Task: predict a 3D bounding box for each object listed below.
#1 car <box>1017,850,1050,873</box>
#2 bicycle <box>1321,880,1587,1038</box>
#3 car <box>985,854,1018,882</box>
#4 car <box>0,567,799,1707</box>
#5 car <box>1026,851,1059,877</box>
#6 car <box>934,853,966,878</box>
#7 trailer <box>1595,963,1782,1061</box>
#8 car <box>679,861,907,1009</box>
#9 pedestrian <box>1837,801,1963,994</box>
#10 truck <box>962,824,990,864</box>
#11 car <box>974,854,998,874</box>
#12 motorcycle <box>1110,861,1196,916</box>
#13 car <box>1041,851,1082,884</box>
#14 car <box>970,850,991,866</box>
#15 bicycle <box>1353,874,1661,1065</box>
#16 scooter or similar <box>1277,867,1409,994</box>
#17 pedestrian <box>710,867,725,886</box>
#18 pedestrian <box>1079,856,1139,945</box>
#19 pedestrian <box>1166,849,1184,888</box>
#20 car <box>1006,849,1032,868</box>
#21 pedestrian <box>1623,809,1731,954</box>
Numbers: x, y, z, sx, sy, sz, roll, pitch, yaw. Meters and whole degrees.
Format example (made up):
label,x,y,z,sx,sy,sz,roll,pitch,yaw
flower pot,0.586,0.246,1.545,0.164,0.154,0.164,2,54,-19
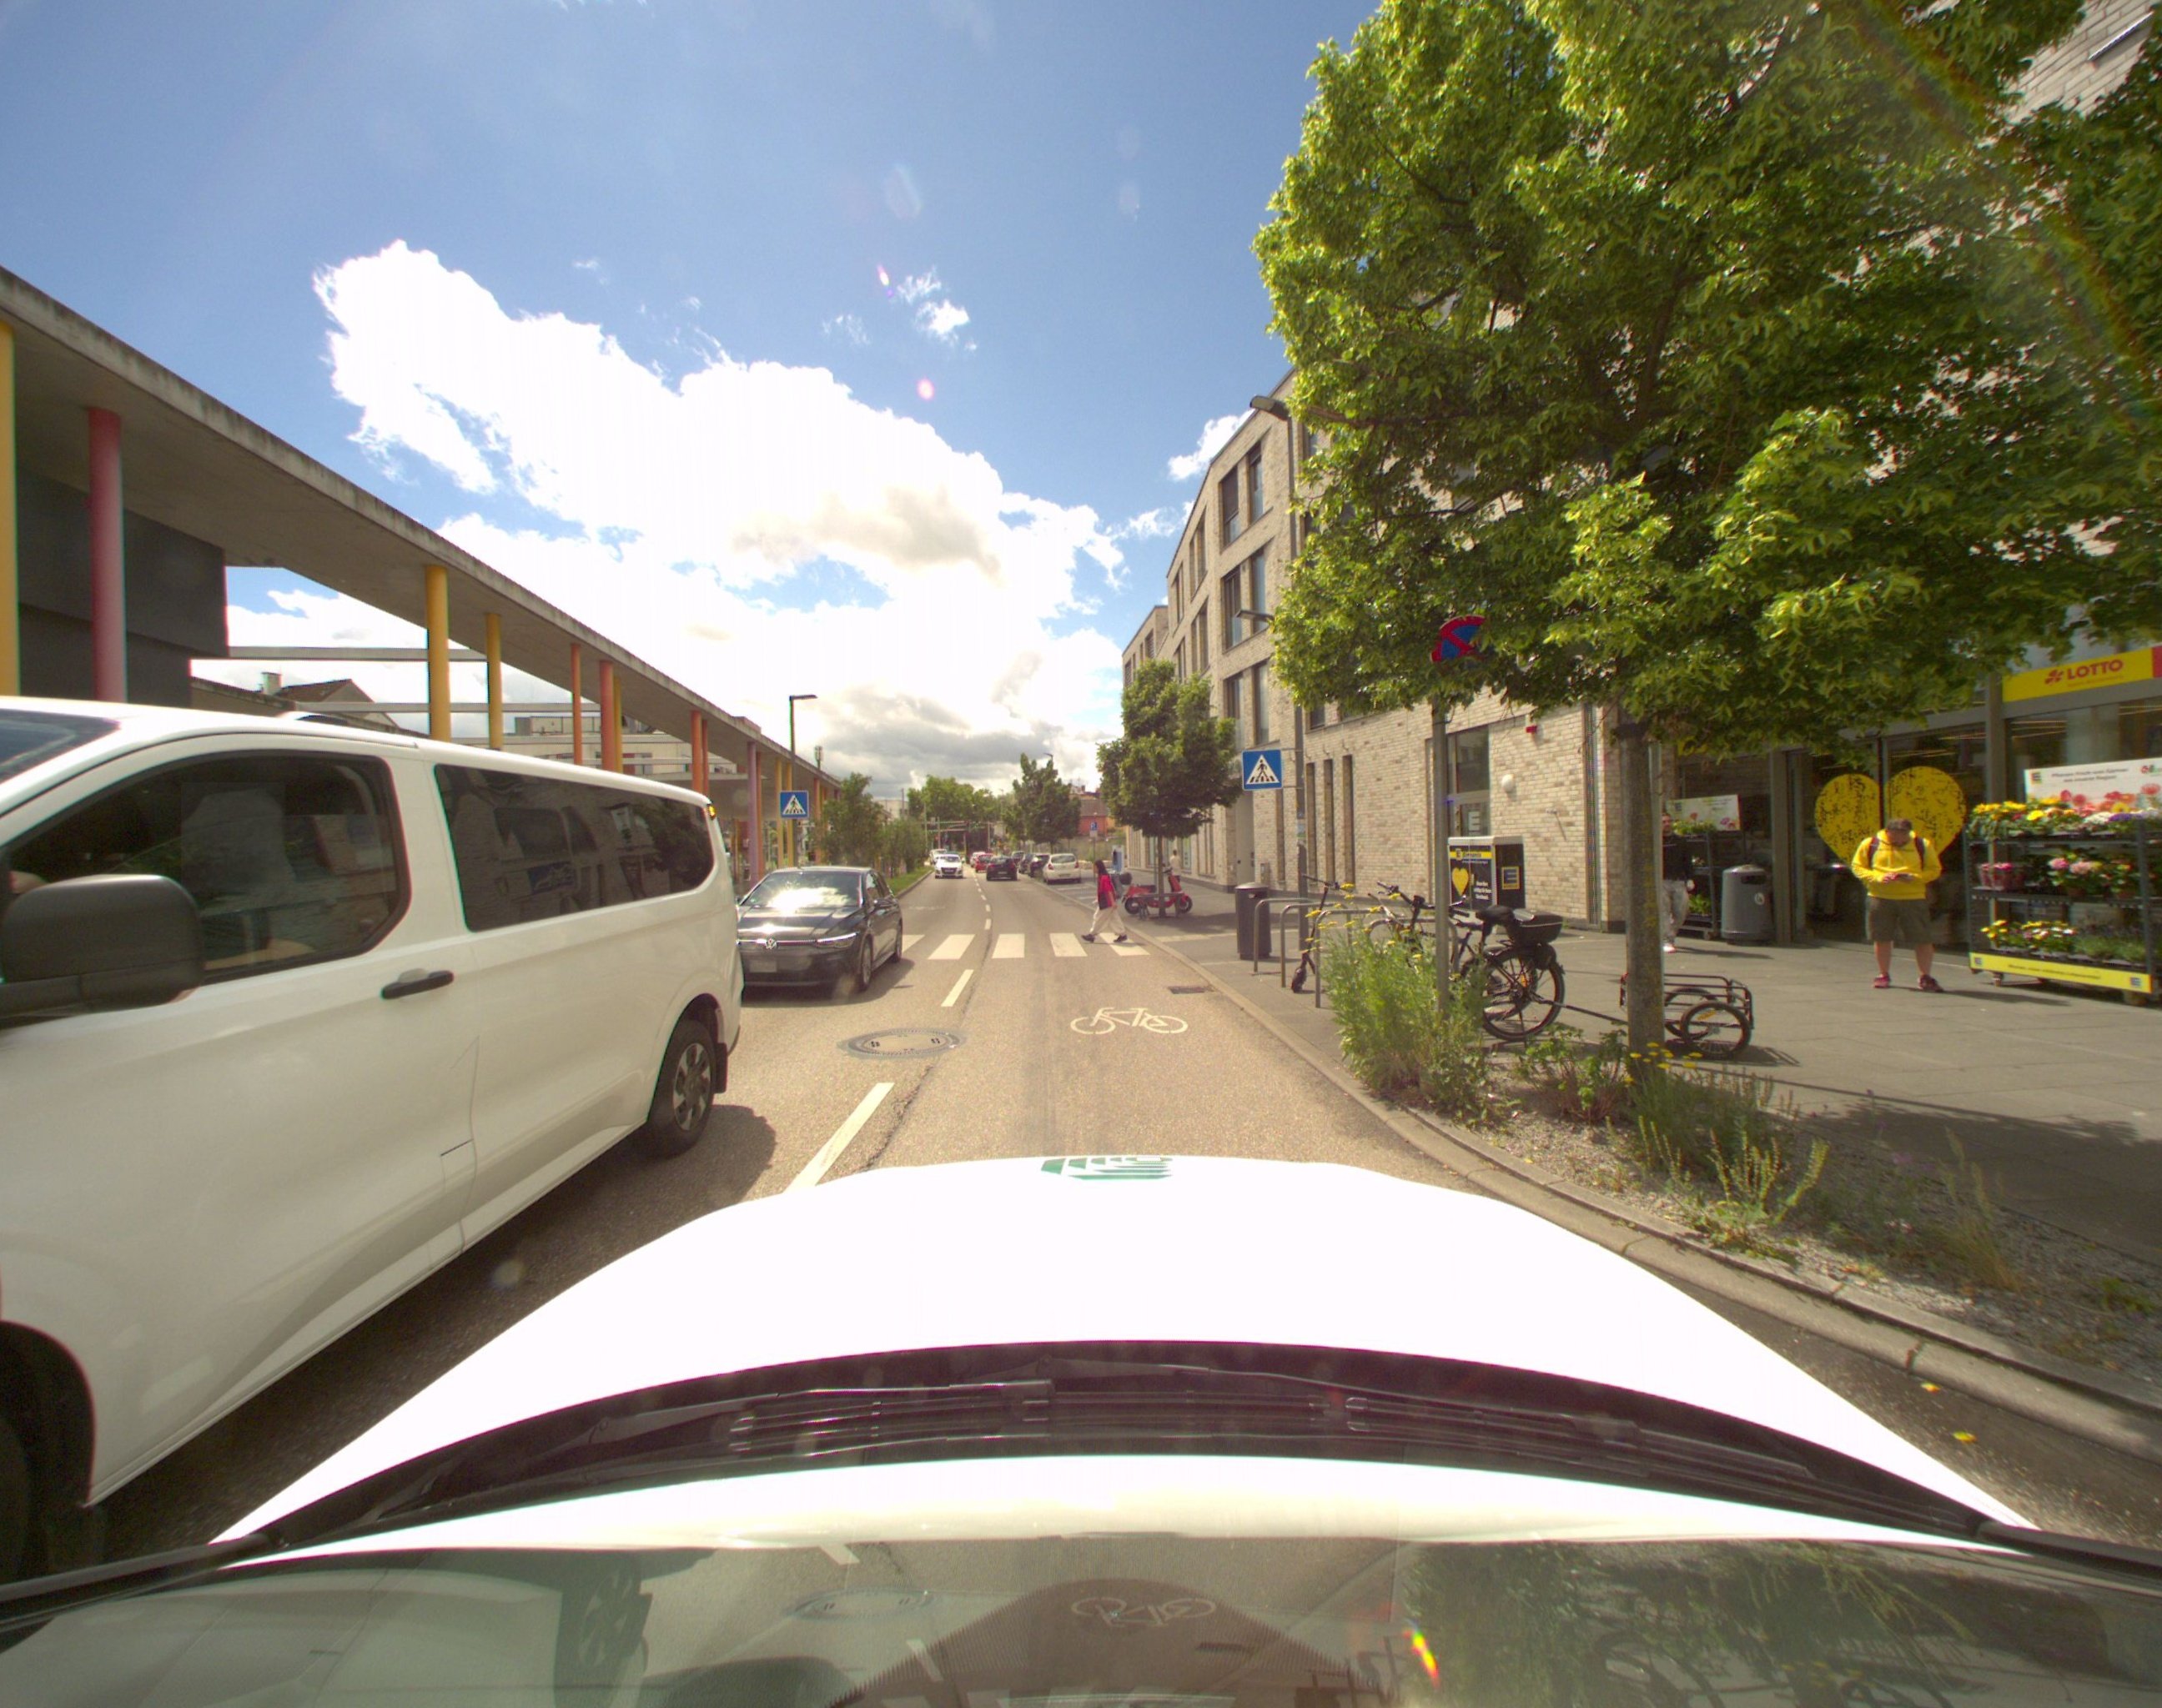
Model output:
label,x,y,z,sx,sy,sz,roll,pitch,yaw
car,-3.387,0.510,57.223,1.864,1.451,4.631,-3,1,-8
bicycle,3.031,0.831,6.747,1.817,1.131,0.756,-3,-1,-2
car,-4.629,0.761,47.149,1.725,1.456,3.799,-2,1,-7
car,-2.864,0.527,2.888,1.988,2.014,5.389,0,0,-2
car,-2.424,0.587,50.541,1.691,1.461,4.137,-3,1,-7
car,-8.093,0.704,50.622,1.810,1.469,3.898,0,0,-7
trailer,4.209,1.082,5.708,0.717,0.528,0.812,-1,-1,2
car,-3.399,0.846,10.485,1.769,1.464,4.226,0,0,-5
pedestrian,7.581,0.386,7.573,0.651,1.692,0.636,-2,0,32
truck,-12.765,-1.111,98.512,3.202,4.536,9.000,0,-1,-9
car,-7.387,0.730,63.178,1.711,1.393,3.797,-2,1,-9
motorcycle,1.831,0.872,20.643,2.038,1.266,0.674,-3,-1,9
car,-1.048,0.660,41.311,1.691,1.483,3.789,-3,1,-6
car,-10.158,0.385,82.254,1.888,1.465,4.055,-2,0,-10
bicycle,3.047,0.794,5.952,1.817,1.201,0.756,-3,-1,-2
scooter or similar,2.768,0.794,8.668,1.193,1.249,0.493,-3,-1,-2
pedestrian,-27.421,1.692,61.474,0.822,1.379,0.700,0,1,-8
pedestrian,0.495,0.834,14.806,0.927,1.565,0.812,0,-2,-10
pedestrian,3.752,0.568,32.543,0.605,1.472,0.791,-3,1,0
car,-5.463,0.375,71.626,1.782,1.451,4.461,-3,1,-10
pedestrian,7.552,0.338,10.365,0.654,1.741,1.020,-2,0,7
